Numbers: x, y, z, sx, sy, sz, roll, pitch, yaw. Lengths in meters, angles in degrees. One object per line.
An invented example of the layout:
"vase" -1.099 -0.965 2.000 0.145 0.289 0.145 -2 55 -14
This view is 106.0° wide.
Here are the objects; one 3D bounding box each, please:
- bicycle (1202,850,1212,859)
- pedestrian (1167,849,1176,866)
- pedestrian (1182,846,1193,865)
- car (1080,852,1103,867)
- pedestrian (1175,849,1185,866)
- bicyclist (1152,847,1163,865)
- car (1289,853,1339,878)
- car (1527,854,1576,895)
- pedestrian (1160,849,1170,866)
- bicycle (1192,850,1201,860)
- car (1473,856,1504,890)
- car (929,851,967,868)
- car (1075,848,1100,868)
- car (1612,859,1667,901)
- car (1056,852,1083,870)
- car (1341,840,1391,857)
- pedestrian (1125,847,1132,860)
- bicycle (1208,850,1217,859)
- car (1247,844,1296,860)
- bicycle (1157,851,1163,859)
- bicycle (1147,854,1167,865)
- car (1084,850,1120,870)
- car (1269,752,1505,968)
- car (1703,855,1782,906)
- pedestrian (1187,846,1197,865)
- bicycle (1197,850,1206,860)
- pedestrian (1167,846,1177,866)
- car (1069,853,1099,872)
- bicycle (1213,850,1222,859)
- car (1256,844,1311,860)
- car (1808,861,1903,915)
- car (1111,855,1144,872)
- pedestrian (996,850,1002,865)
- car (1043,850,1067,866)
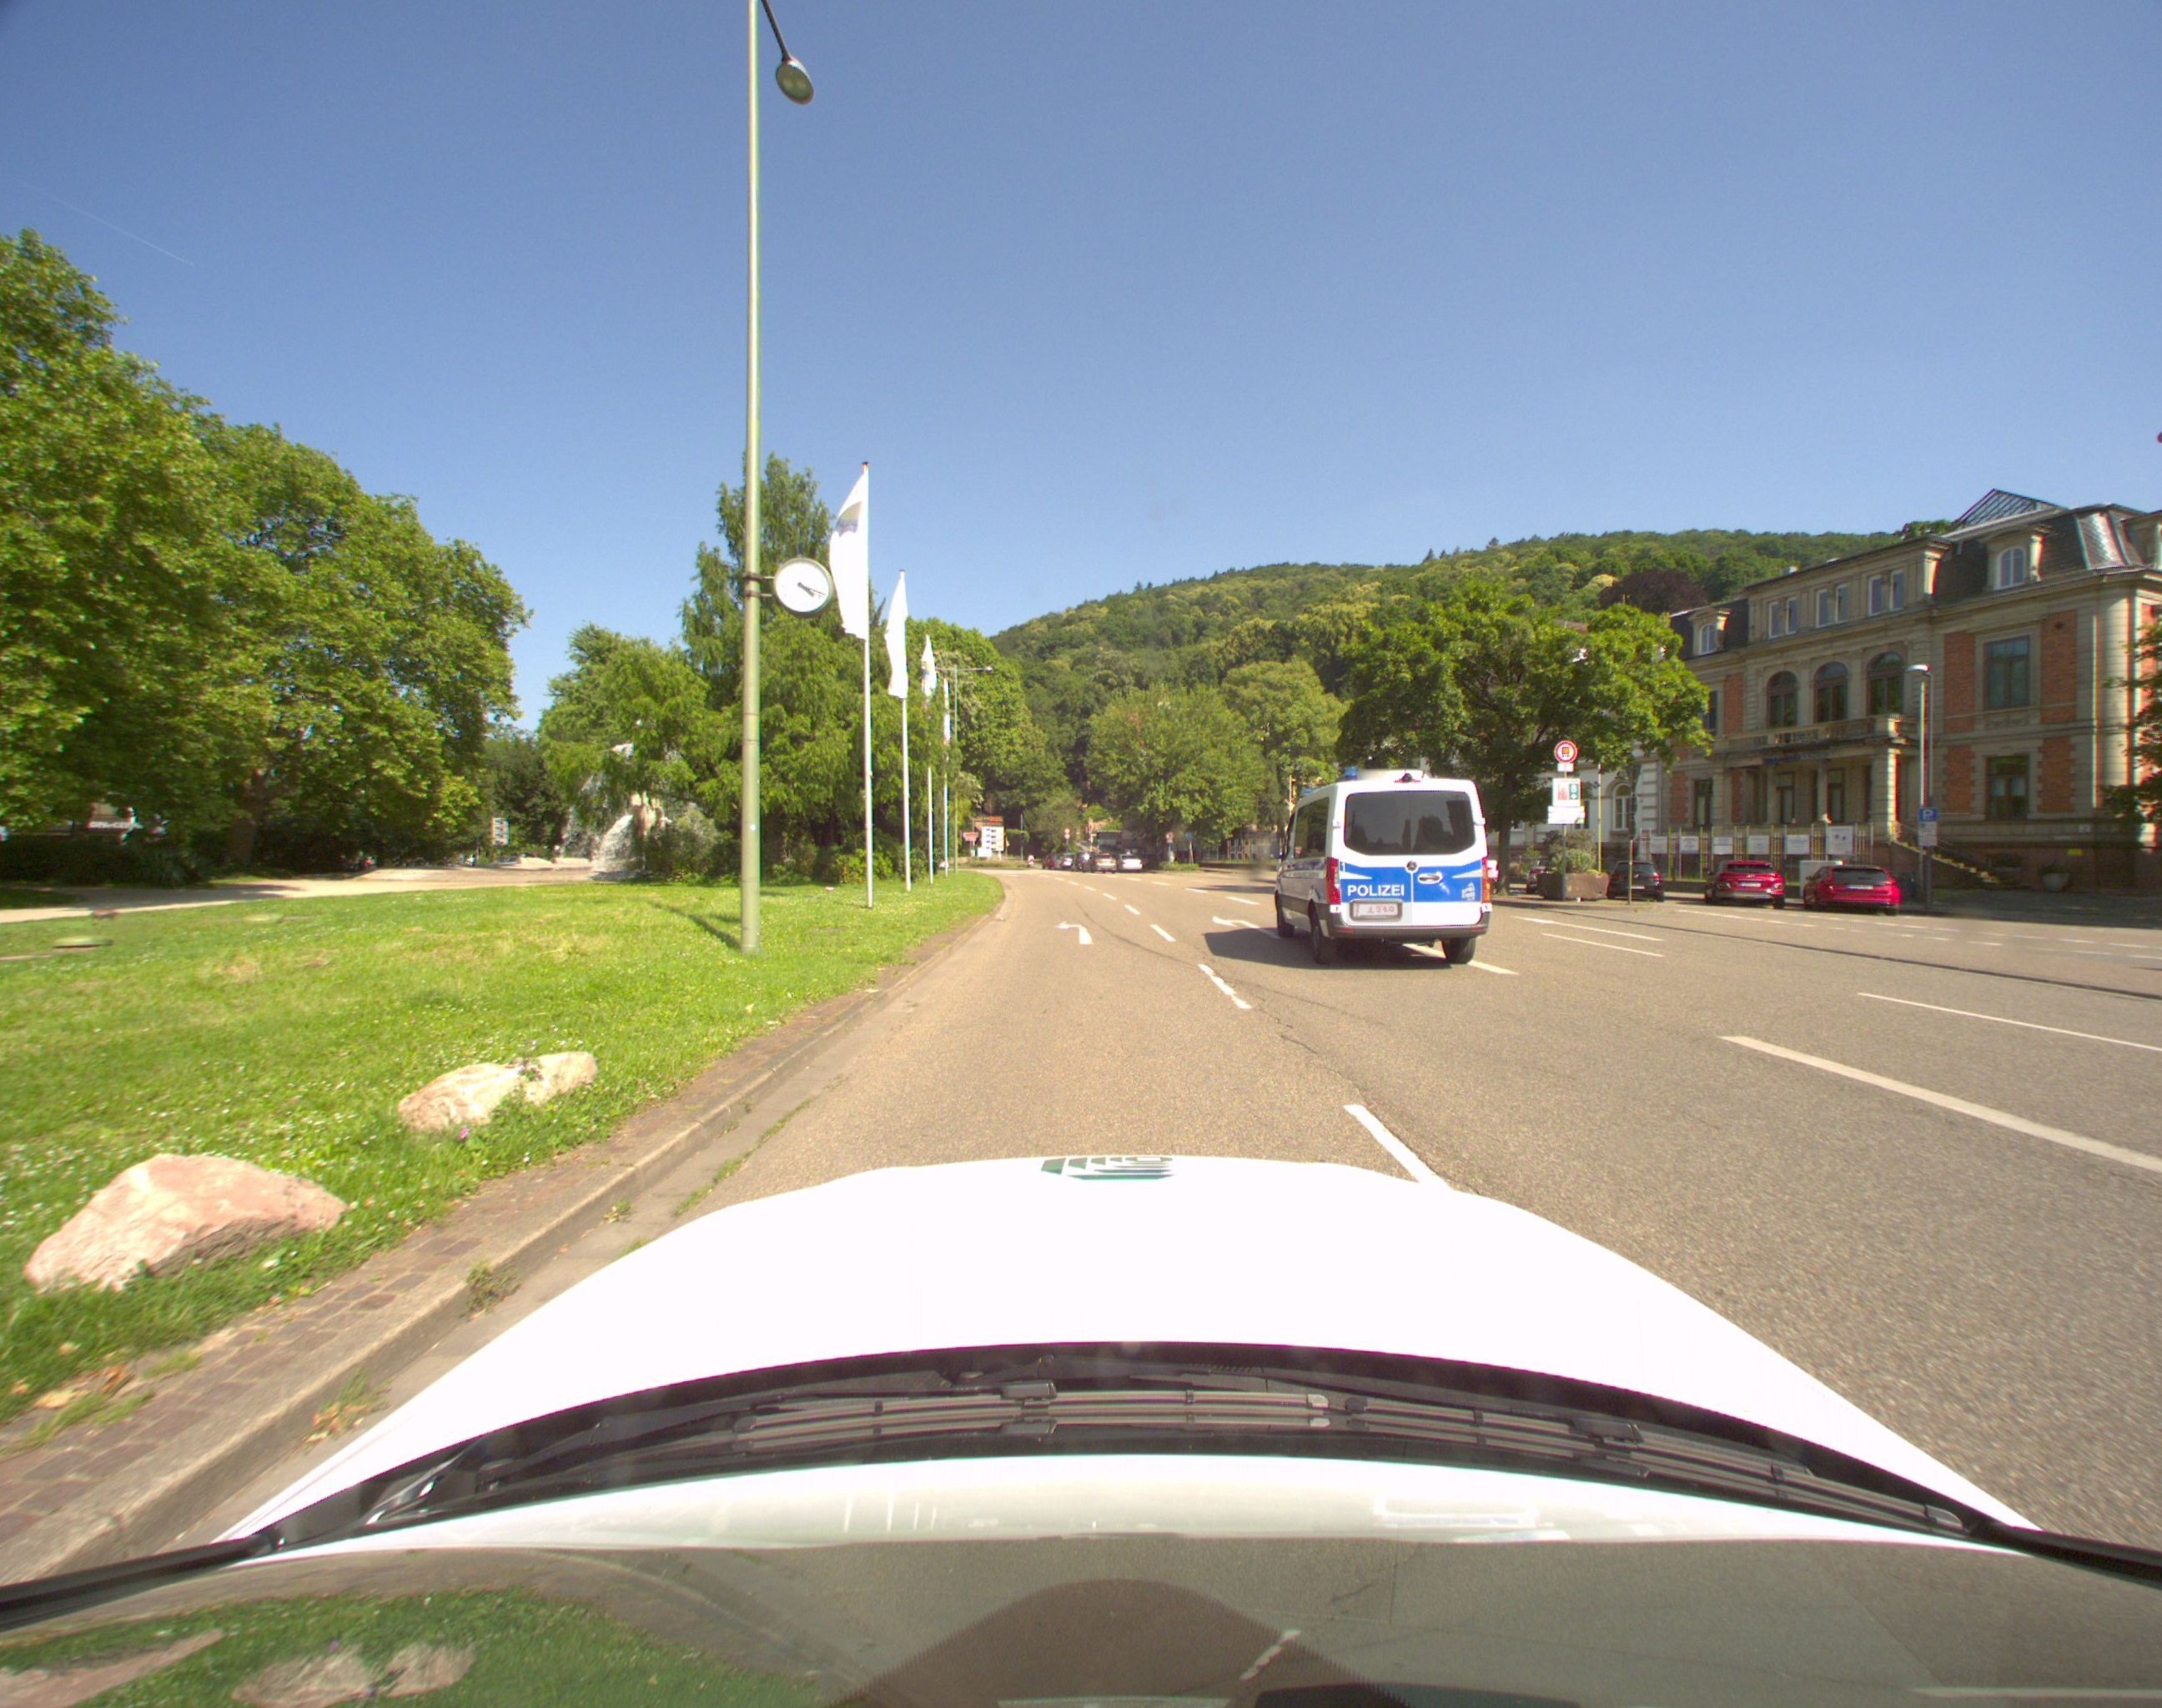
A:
"bicycle" 14.527 0.070 93.945 0.537 1.085 1.830 -1 0 -8
"pedestrian" 8.913 0.302 80.181 0.770 1.663 0.827 0 0 -8
"pedestrian" 10.288 0.118 78.698 0.771 1.854 0.826 0 0 -11
"car" 1.088 0.574 84.812 1.756 1.461 3.482 0 0 -10
"pedestrian" 9.563 0.307 78.678 0.770 1.663 0.827 0 0 -8
"bicyclist" 8.216 0.196 87.451 1.121 1.932 0.749 0 0 3
"car" 14.550 0.691 50.735 1.804 1.461 4.133 0 0 34
"car" 19.974 0.803 34.609 1.692 1.629 4.343 0 0 30
"pedestrian" 8.232 0.318 79.534 0.771 1.663 0.827 0 0 -9
"bicycle" 13.312 0.086 93.864 0.537 1.085 1.830 -1 0 -8
"car" 18.891 0.847 37.766 1.187 1.482 2.301 0 0 24
"car" -11.685 0.486 71.332 1.857 1.460 3.454 0 0 -38
"car" 0.594 0.378 78.105 1.756 1.938 3.482 0 0 -10
"car" 20.884 0.930 30.512 1.585 1.417 3.845 0 0 34
"car" -0.983 0.543 69.210 1.756 1.461 3.633 0 0 -10
"car" 27.756 -0.537 79.445 4.311 1.603 1.814 -1 0 -13
"pedestrian" 5.324 -0.016 91.124 0.491 1.458 0.729 -1 0 -21
"bicycle" 15.197 0.061 94.058 0.537 1.085 1.830 -1 0 -8
"car" 17.956 -0.224 76.899 4.150 1.476 1.868 -1 0 -15
"bicycle" 9.513 0.102 98.560 0.405 1.012 1.337 -1 1 -9
"bicycle" 8.171 0.607 87.444 2.068 1.112 0.757 0 0 2
"car" 1.464 0.422 58.413 1.757 1.334 3.786 0 0 -12
"car" 4.133 0.070 11.976 2.063 2.508 4.937 0 0 6
"car" 22.359 0.846 27.638 1.727 1.575 3.902 0 0 34
"pedestrian" 10.912 0.126 80.310 0.771 1.854 0.826 0 0 -11
"bicycle" 13.900 0.078 93.960 0.537 1.085 1.830 -1 0 -8
"pedestrian" 8.785 0.193 78.397 0.771 1.854 0.827 0 0 -9
"car" 0.212 0.668 64.367 1.756 1.461 3.482 0 0 -10
"bicycle" 15.785 0.053 94.170 0.537 1.085 1.830 -1 0 -8
"car" 17.898 -0.192 72.038 4.470 1.336 1.814 -1 0 -13
"car" 23.091 0.956 24.402 1.727 1.418 3.724 0 0 38
"car" 3.564 0.721 62.979 1.756 1.213 3.482 0 0 -10
"pedestrian" -9.201 0.385 91.281 0.545 1.621 0.634 -1 1 -1
"car" -2.386 0.324 74.683 1.756 1.461 3.482 0 0 -10
